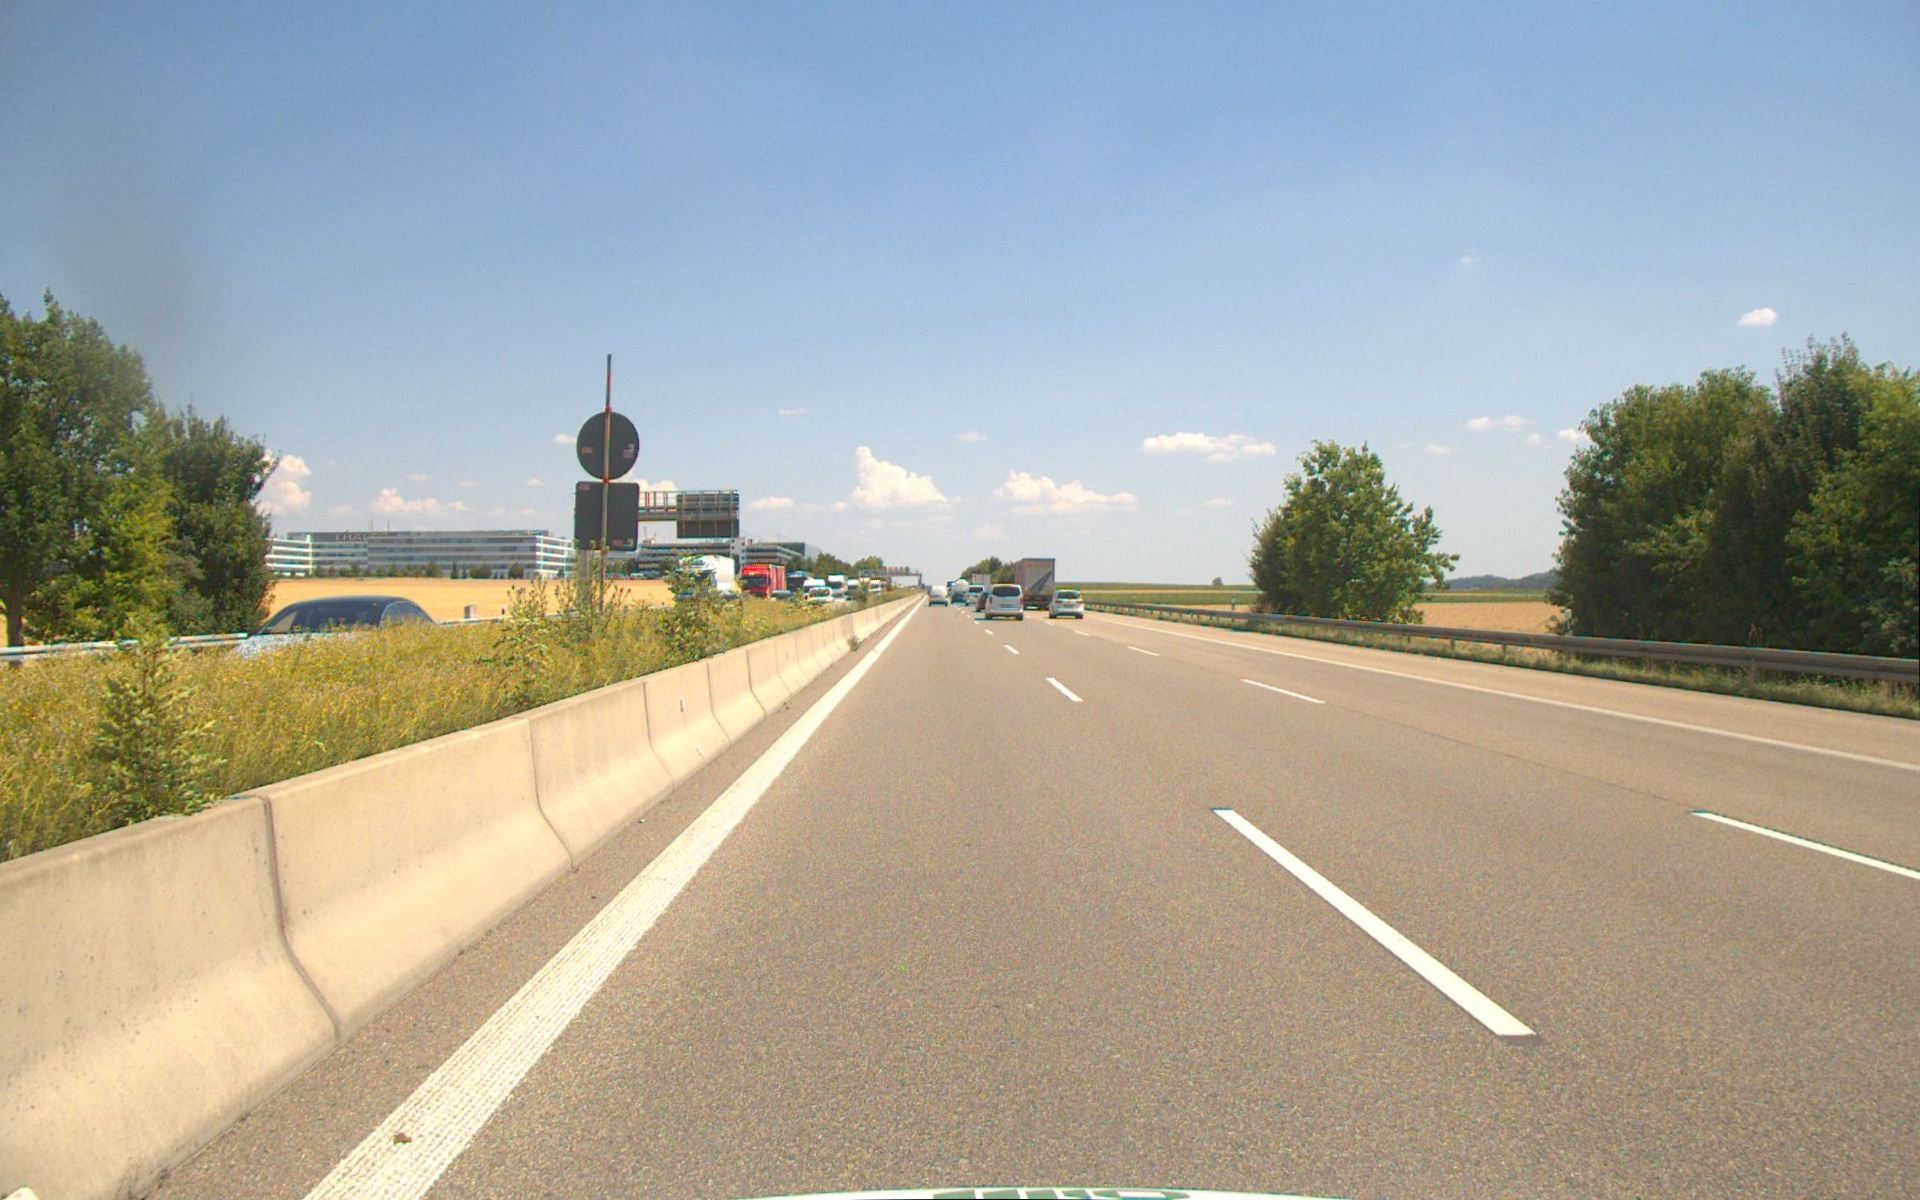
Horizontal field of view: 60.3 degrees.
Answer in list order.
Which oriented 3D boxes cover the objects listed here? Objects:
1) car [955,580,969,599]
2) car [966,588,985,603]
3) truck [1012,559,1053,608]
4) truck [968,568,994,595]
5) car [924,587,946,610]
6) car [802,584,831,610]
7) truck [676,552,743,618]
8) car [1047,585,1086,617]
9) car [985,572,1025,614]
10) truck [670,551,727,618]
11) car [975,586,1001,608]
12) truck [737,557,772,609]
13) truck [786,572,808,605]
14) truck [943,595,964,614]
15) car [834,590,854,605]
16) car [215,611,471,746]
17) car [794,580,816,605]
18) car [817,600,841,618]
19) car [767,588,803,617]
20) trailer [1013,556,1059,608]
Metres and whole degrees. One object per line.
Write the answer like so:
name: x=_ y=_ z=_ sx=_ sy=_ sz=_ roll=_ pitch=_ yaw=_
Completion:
car: x=0.239 y=-1.332 z=215.499 sx=1.737 sy=2.434 sz=3.999 roll=0 pitch=-1 yaw=-1
car: x=1.479 y=-0.430 z=161.844 sx=1.737 sy=1.473 sz=3.999 roll=0 pitch=-1 yaw=-1
truck: x=6.096 y=-1.372 z=139.823 sx=3.204 sy=4.037 sz=4.911 roll=0 pitch=-1 yaw=-1
truck: x=3.183 y=-2.846 z=258.608 sx=3.738 sy=3.973 sz=9.578 roll=-1 pitch=0 yaw=-1
car: x=-2.306 y=-0.134 z=153.334 sx=1.953 sy=2.049 sz=3.999 roll=0 pitch=-1 yaw=-1
car: x=-10.078 y=-0.240 z=116.447 sx=1.779 sy=1.784 sz=4.991 roll=0 pitch=0 yaw=-2
truck: x=-17.447 y=-1.047 z=116.025 sx=2.890 sy=4.230 sz=12.863 roll=-2 pitch=0 yaw=-1
car: x=6.167 y=0.079 z=95.970 sx=1.953 sy=1.825 sz=3.999 roll=0 pitch=-1 yaw=-1
car: x=2.367 y=-0.334 z=87.729 sx=1.953 sy=2.157 sz=3.999 roll=0 pitch=-1 yaw=-1
truck: x=-17.289 y=-1.006 z=109.595 sx=2.890 sy=4.230 sz=5.470 roll=-2 pitch=0 yaw=-2
car: x=1.970 y=-0.213 z=117.438 sx=1.737 sy=1.473 sz=3.999 roll=0 pitch=-1 yaw=-1
truck: x=-18.761 y=-1.504 z=151.334 sx=2.720 sy=4.678 sz=4.722 roll=0 pitch=0 yaw=-2
truck: x=-18.775 y=-1.320 z=190.466 sx=2.067 sy=3.663 sz=7.118 roll=0 pitch=0 yaw=-2
truck: x=-0.763 y=0.491 z=182.045 sx=2.167 sy=2.049 sz=4.970 roll=0 pitch=0 yaw=-2
car: x=-10.711 y=-0.243 z=152.403 sx=1.683 sy=1.374 sz=3.772 roll=0 pitch=0 yaw=-2
car: x=-8.264 y=0.976 z=22.647 sx=1.726 sy=1.577 sz=4.727 roll=-1 pitch=0 yaw=0
car: x=-15.046 y=-0.780 z=160.885 sx=1.822 sy=2.377 sz=5.705 roll=0 pitch=0 yaw=-2
car: x=-10.619 y=0.723 z=134.007 sx=1.779 sy=1.374 sz=3.772 roll=0 pitch=0 yaw=-2
car: x=-9.473 y=0.104 z=89.774 sx=1.639 sy=1.513 sz=4.396 roll=0 pitch=0 yaw=-2
trailer: x=6.175 y=-1.423 z=135.401 sx=3.211 sy=4.037 sz=9.110 roll=0 pitch=-1 yaw=-1
